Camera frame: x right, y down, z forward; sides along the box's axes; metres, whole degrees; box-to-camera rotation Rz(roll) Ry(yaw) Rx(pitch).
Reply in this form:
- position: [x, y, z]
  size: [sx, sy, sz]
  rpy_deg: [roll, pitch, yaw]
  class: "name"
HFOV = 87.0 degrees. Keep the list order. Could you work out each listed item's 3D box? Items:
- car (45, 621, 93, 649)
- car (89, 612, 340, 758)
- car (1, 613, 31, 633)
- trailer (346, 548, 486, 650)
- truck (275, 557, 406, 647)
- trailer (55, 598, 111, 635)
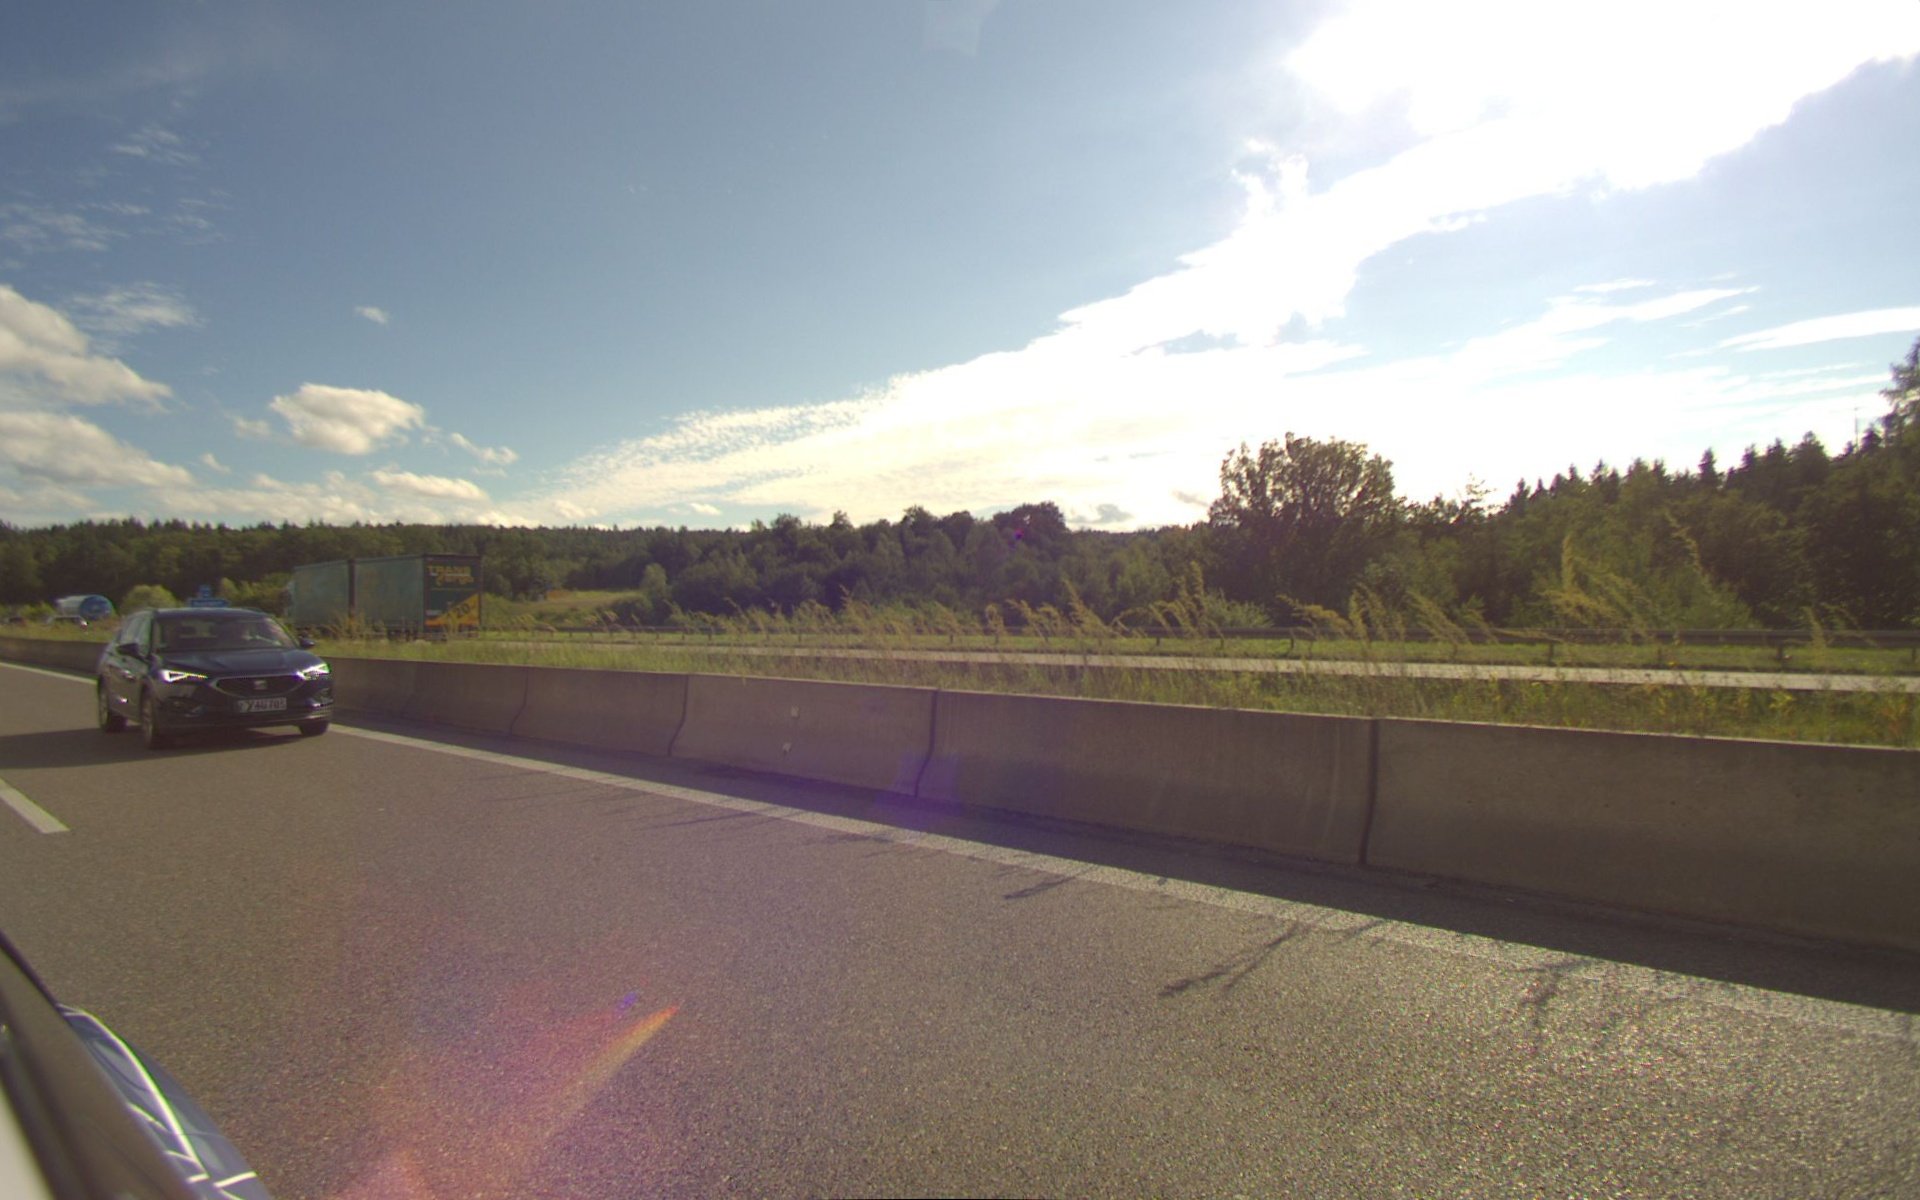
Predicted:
- position: [-55.805, 2.179, 63.360]
  size: [3.998, 1.593, 1.652]
  rpy_deg: [-1, 3, 41]
  class: "car"
- position: [-9.595, 0.945, 12.899]
  size: [4.156, 1.554, 1.756]
  rpy_deg: [-1, -1, 41]
  class: "car"
- position: [-95.743, 2.341, 102.599]
  size: [3.998, 1.895, 1.742]
  rpy_deg: [-1, 3, 41]
  class: "car"
- position: [-25.044, 0.014, 46.350]
  size: [8.546, 4.276, 2.698]
  rpy_deg: [-1, -1, 40]
  class: "trailer"
- position: [-32.252, 0.156, 52.439]
  size: [10.336, 4.276, 2.684]
  rpy_deg: [-1, -1, 40]
  class: "truck"
- position: [-84.080, 1.600, 96.952]
  size: [10.867, 3.308, 2.298]
  rpy_deg: [-1, 3, 40]
  class: "trailer"
